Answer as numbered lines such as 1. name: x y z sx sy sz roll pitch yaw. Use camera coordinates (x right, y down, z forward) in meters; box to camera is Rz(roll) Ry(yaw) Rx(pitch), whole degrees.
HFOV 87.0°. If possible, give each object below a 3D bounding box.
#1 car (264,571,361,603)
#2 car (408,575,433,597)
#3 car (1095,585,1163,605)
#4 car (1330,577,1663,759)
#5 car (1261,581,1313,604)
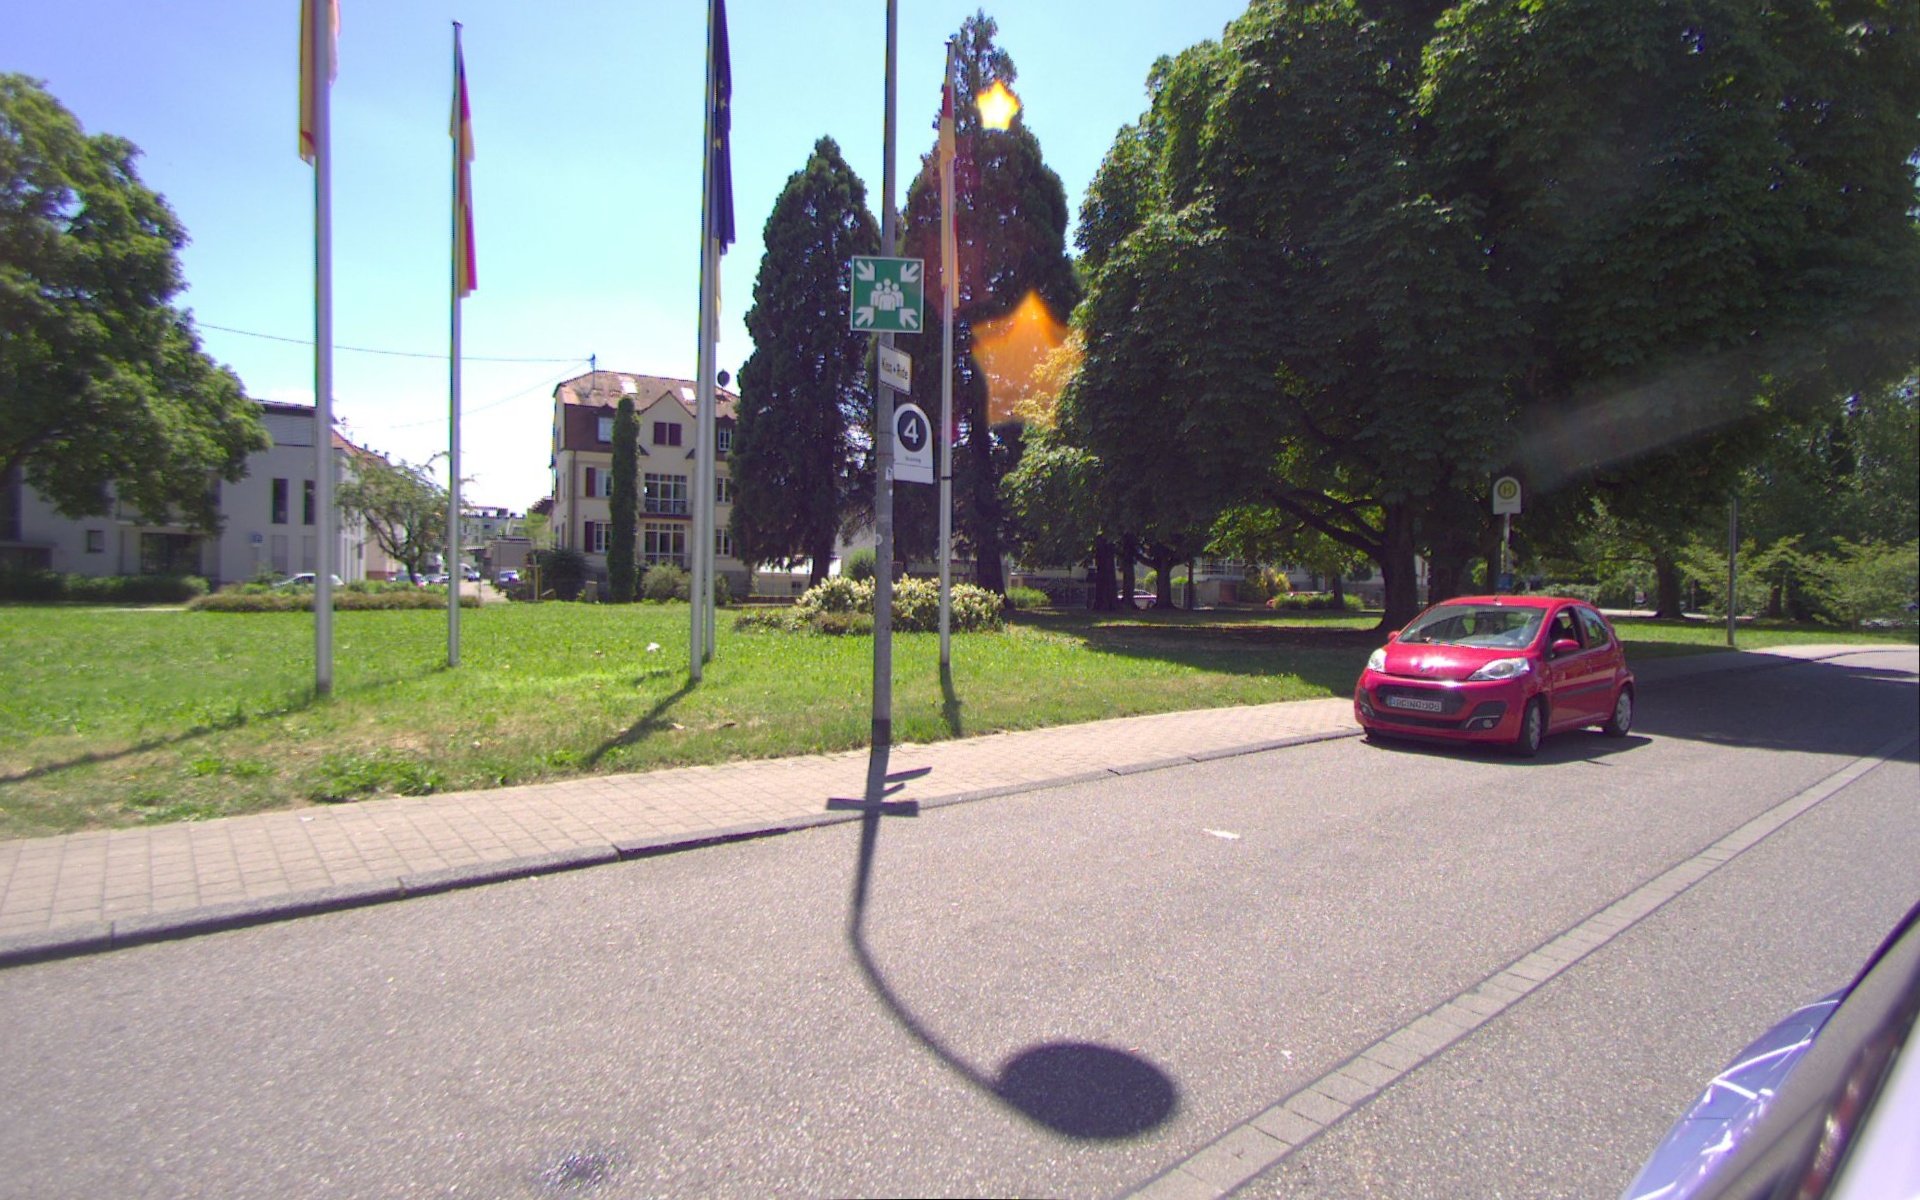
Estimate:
1. car: -30.983 -0.634 48.485 1.459 1.450 3.654 2 2 39
2. car: -51.717 -1.359 97.029 1.959 2.038 4.008 -1 3 -26
3. car: 11.929 -0.382 71.422 4.618 1.303 1.674 -1 2 -26
4. car: 5.536 0.549 10.287 3.640 1.497 1.723 0 2 -40
5. car: 25.381 -0.595 78.538 3.920 1.619 1.705 -2 3 -30
